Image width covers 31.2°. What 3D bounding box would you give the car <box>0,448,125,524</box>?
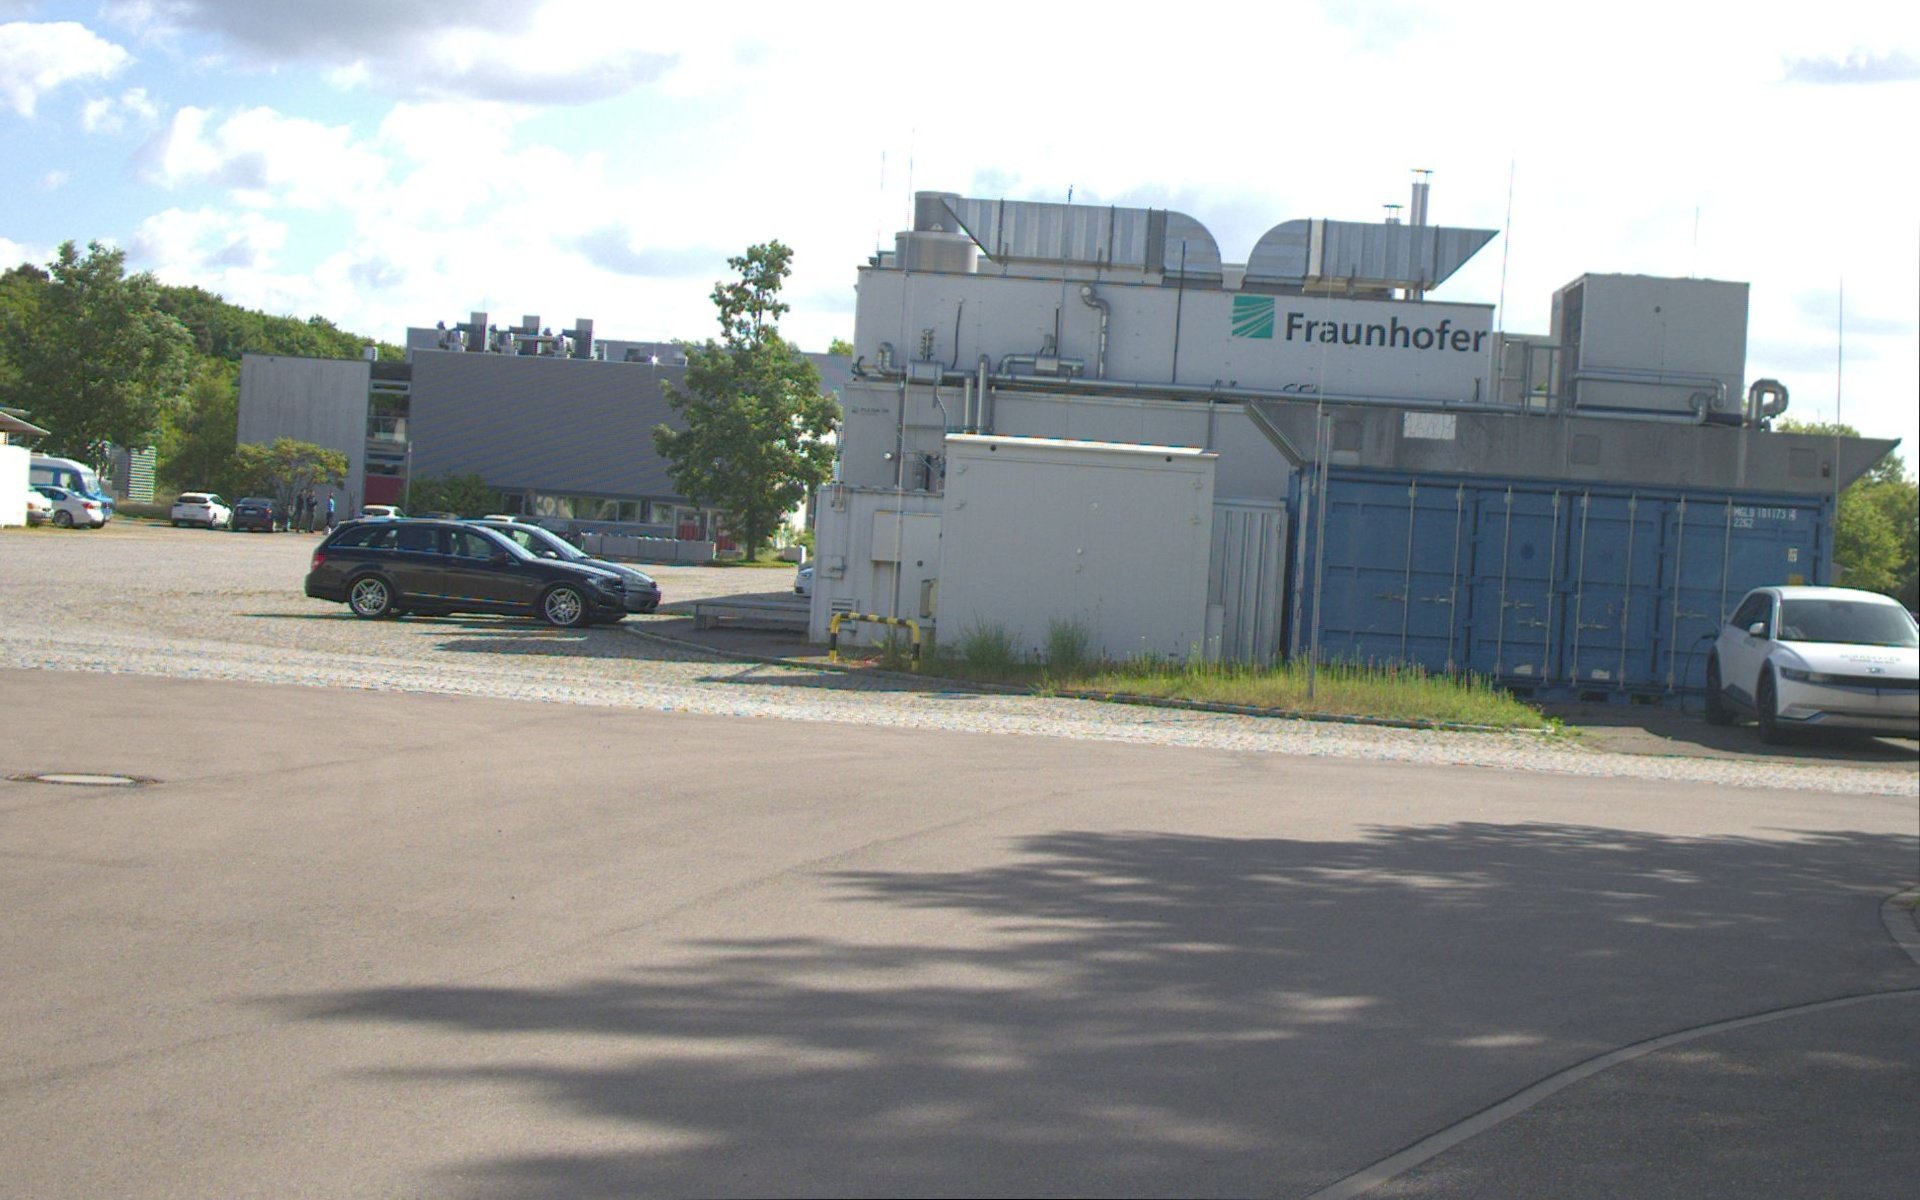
[{"bbox_3d":[-33.082,-4.141,123.897,5.260,2.433,2.049,4,1,7],"label":"car"}]

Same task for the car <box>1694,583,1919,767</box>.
[{"bbox_3d":[9.119,0.744,36.008,1.981,1.588,4.340,4,2,2],"label":"car"}]

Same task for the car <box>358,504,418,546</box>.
[{"bbox_3d":[-24.467,-3.216,147.180,1.877,1.684,4.036,2,0,0],"label":"car"}]

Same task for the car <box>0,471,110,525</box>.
[{"bbox_3d":[-32.248,-3.599,120.919,4.111,1.625,1.807,4,1,7],"label":"car"}]

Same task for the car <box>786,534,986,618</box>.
[{"bbox_3d":[-1.630,-0.527,76.876,4.279,1.564,1.987,4,-1,3],"label":"car"}]

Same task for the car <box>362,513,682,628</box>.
[{"bbox_3d":[-6.663,-0.436,52.594,4.530,1.438,1.904,4,-1,3],"label":"car"}]

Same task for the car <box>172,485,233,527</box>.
[{"bbox_3d":[-32.464,-4.029,147.411,1.846,1.663,4.134,2,0,-2],"label":"car"}]

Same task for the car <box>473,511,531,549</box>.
[{"bbox_3d":[-19.578,-2.973,147.028,1.877,1.532,4.036,2,0,0],"label":"car"}]

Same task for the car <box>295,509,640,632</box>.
[{"bbox_3d":[-7.029,-0.409,49.349,4.530,1.438,1.987,4,-1,3],"label":"car"}]

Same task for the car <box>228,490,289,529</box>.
[{"bbox_3d":[-30.021,-3.878,147.182,1.877,1.532,4.036,2,0,-2],"label":"car"}]

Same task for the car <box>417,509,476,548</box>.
[{"bbox_3d":[-21.912,-3.051,146.913,1.877,1.532,4.036,2,0,0],"label":"car"}]
